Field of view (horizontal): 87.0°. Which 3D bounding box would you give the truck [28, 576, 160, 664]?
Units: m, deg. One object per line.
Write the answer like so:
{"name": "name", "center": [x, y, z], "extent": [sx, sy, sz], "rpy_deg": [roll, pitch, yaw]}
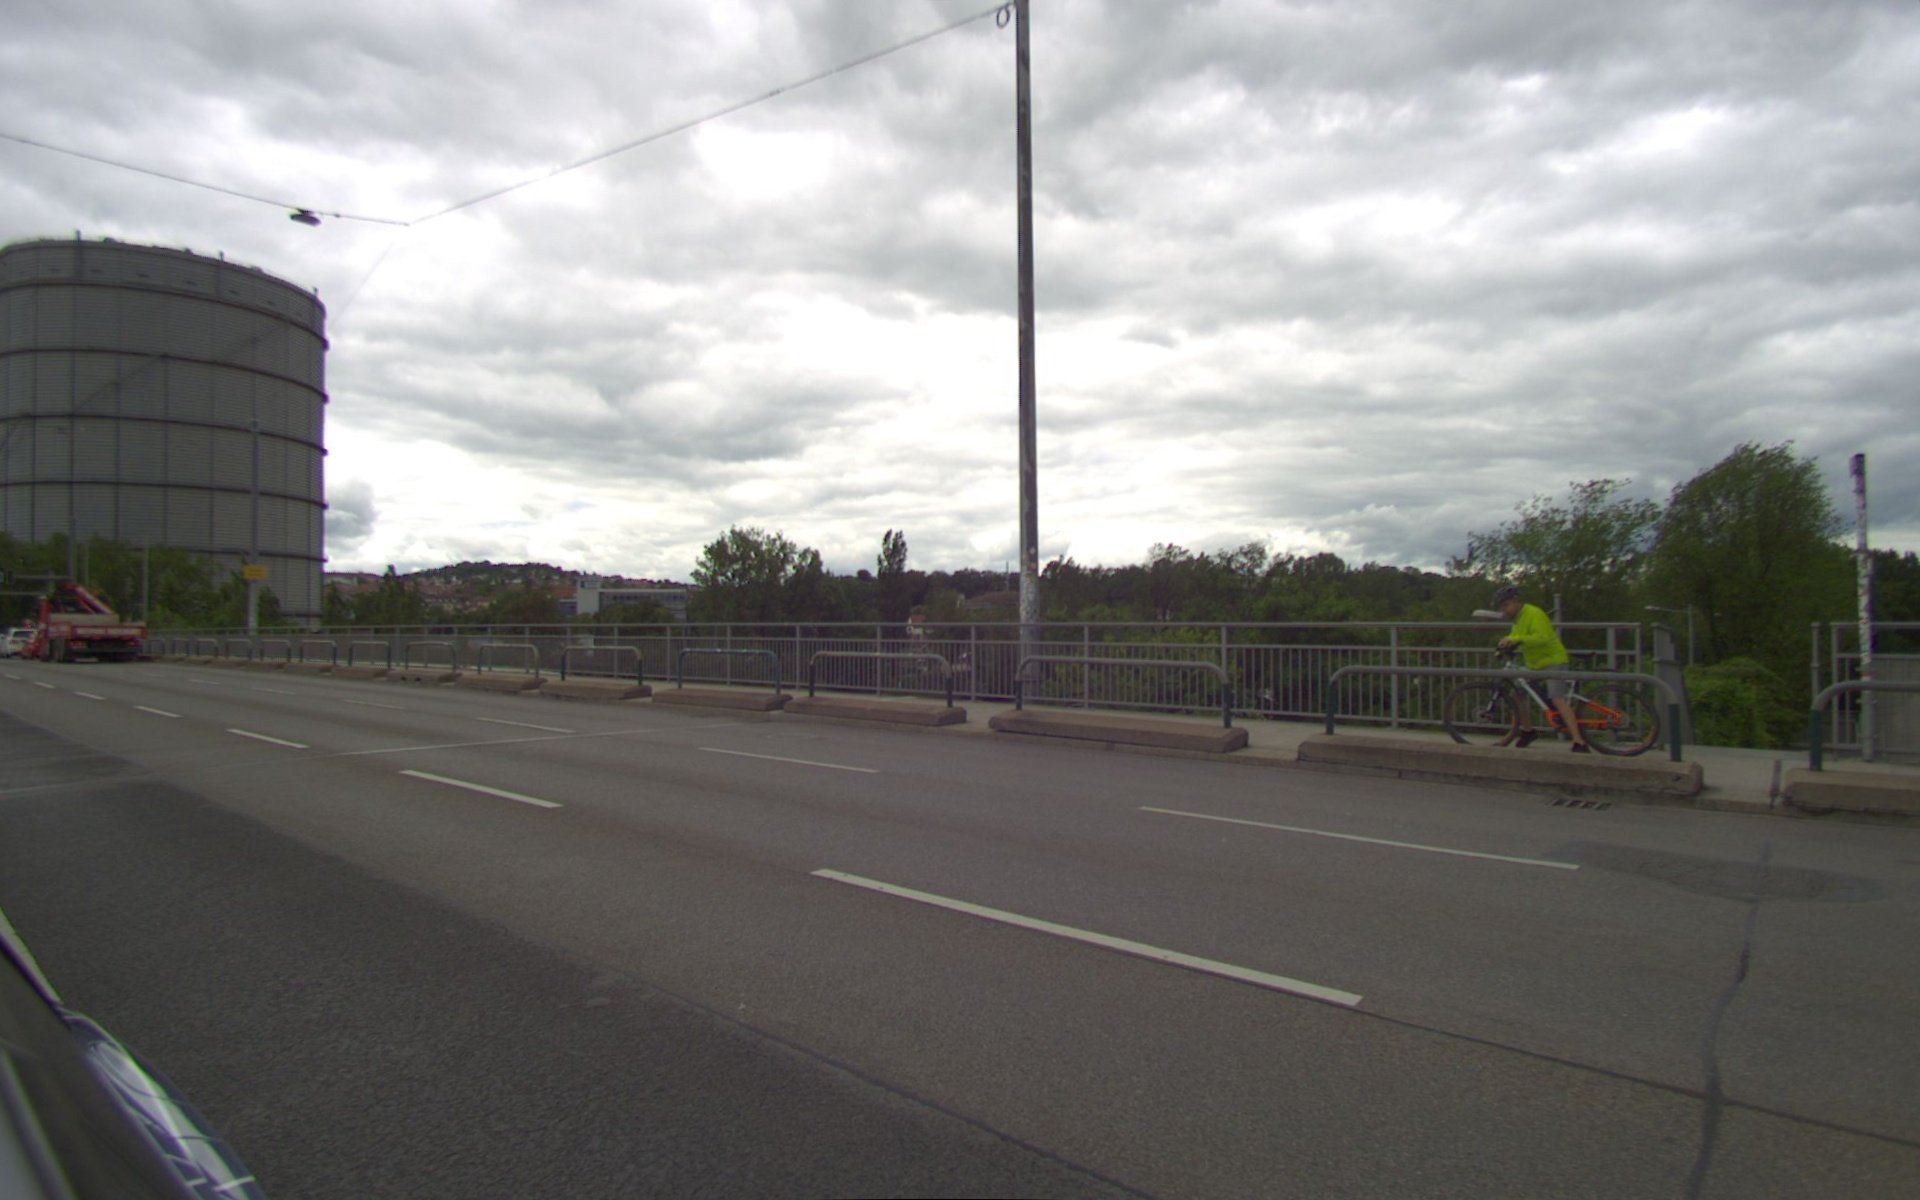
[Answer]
{"name": "truck", "center": [-38.933, 1.016, 45.357], "extent": [9.976, 3.593, 2.974], "rpy_deg": [-2, -3, 41]}

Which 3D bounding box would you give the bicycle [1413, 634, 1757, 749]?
{"name": "bicycle", "center": [6.174, 0.884, 10.223], "extent": [2.774, 1.059, 0.916], "rpy_deg": [-1, -1, 16]}

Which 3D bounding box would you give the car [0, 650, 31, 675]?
{"name": "car", "center": [-59.723, 3.894, 63.325], "extent": [4.514, 1.516, 1.816], "rpy_deg": [-2, -3, 41]}

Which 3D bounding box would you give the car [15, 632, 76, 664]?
{"name": "car", "center": [-48.008, 2.509, 53.097], "extent": [4.013, 1.615, 1.860], "rpy_deg": [-2, -3, 41]}

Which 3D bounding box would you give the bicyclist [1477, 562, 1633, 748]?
{"name": "bicyclist", "center": [5.999, 0.545, 10.279], "extent": [1.126, 1.778, 0.901], "rpy_deg": [-1, -1, 16]}

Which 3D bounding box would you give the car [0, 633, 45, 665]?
{"name": "car", "center": [-54.038, 2.787, 57.938], "extent": [4.799, 1.775, 1.860], "rpy_deg": [-2, -3, 41]}
